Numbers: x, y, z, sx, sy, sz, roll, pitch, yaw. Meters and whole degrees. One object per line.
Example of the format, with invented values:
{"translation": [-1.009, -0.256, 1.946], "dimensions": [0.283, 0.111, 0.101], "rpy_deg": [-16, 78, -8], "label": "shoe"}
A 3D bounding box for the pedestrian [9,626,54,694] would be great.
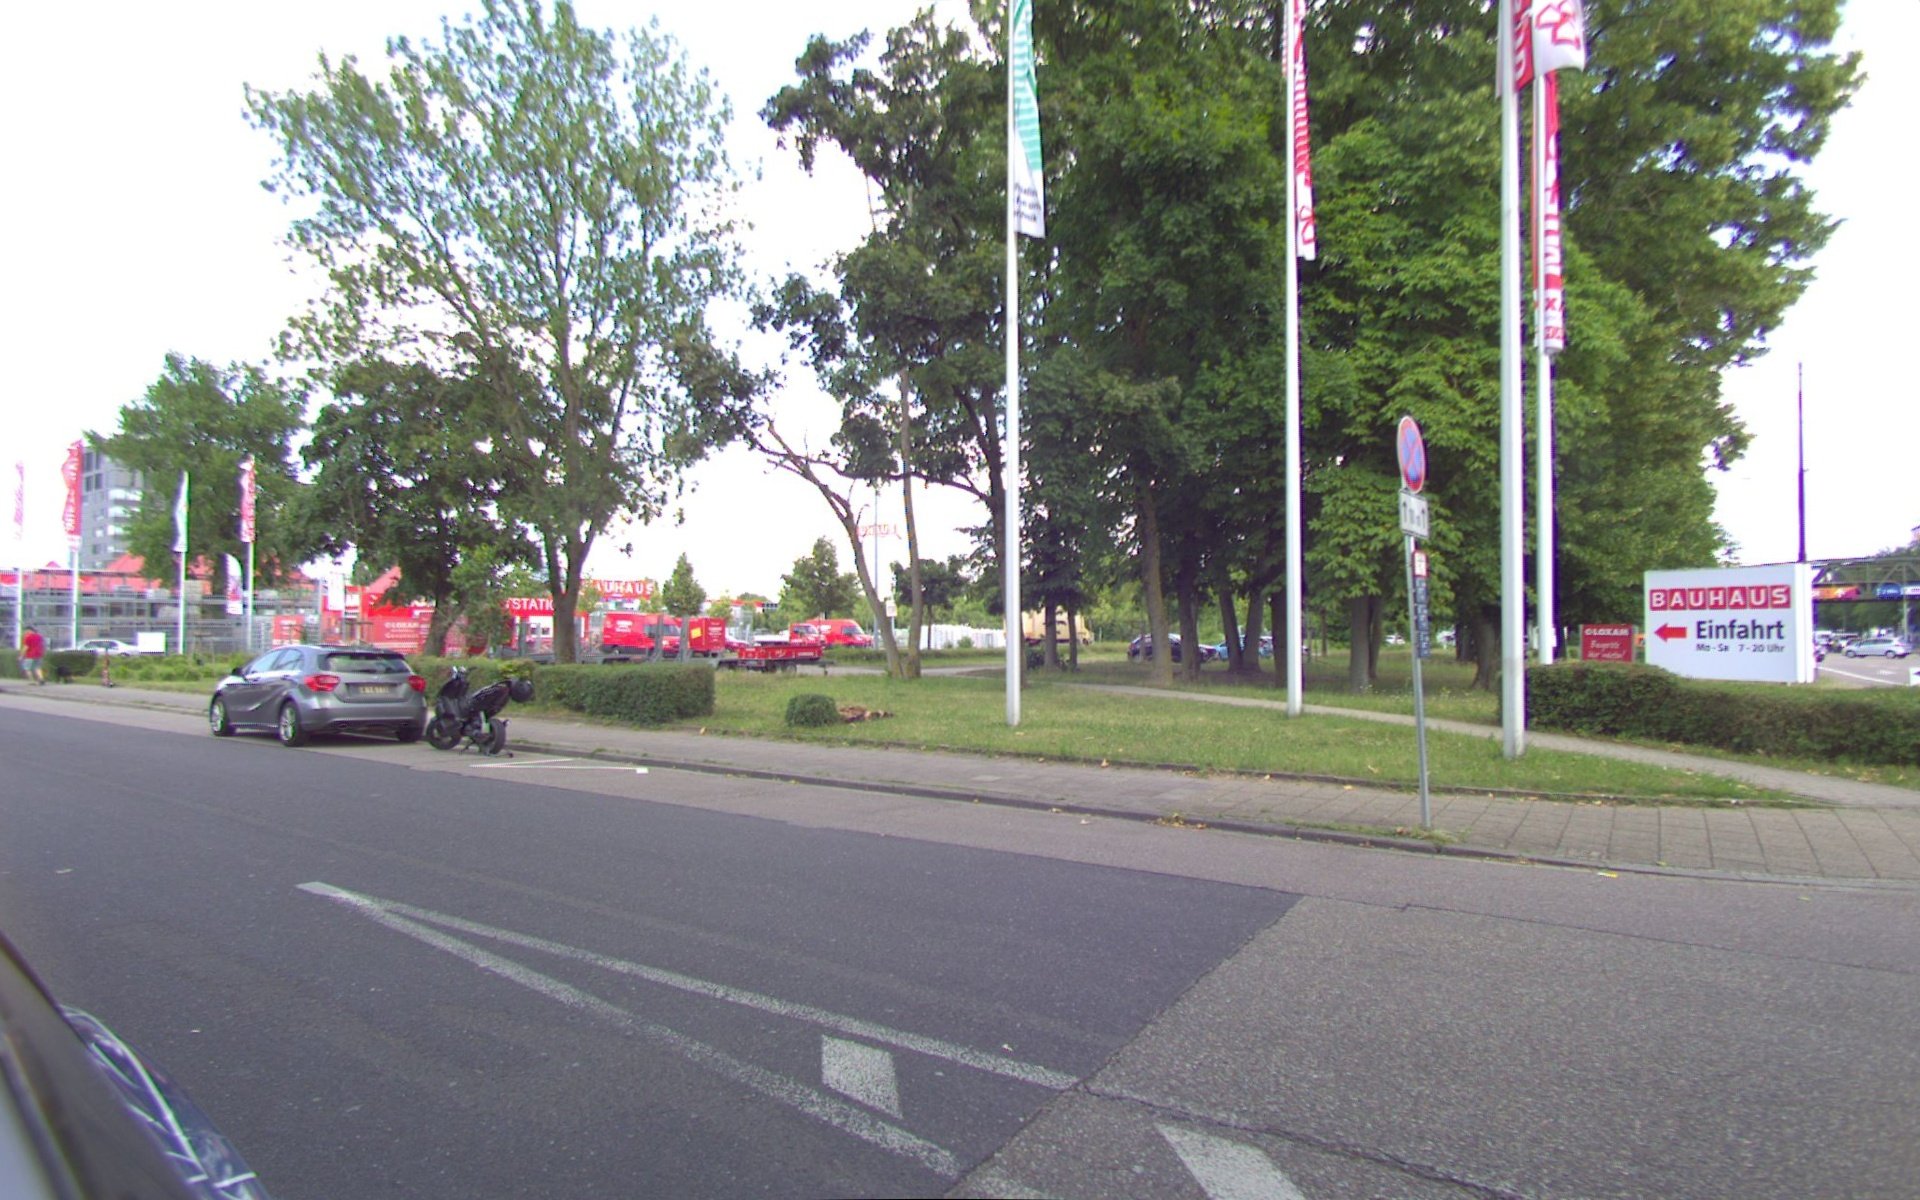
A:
{"translation": [-28.456, 1.819, 31.020], "dimensions": [0.883, 2.029, 0.802], "rpy_deg": [-1, -2, 34], "label": "pedestrian"}

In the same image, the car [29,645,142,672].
{"translation": [-50.672, 3.364, 58.707], "dimensions": [1.950, 1.465, 4.642], "rpy_deg": [-2, -3, 36], "label": "car"}

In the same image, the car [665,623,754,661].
{"translation": [-17.310, 2.835, 69.800], "dimensions": [6.423, 2.434, 2.247], "rpy_deg": [0, -1, 35], "label": "car"}

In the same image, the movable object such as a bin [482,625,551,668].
{"translation": [-24.718, 2.573, 56.430], "dimensions": [3.537, 2.292, 1.976], "rpy_deg": [-2, -3, 35], "label": "movable object such as a bin"}

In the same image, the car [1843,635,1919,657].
{"translation": [68.569, 3.398, 75.240], "dimensions": [1.842, 1.515, 3.922], "rpy_deg": [1, -2, -22], "label": "car"}

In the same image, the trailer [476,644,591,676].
{"translation": [-17.699, 2.464, 42.186], "dimensions": [1.667, 1.129, 4.200], "rpy_deg": [0, -1, 33], "label": "trailer"}

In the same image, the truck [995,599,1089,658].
{"translation": [6.021, 2.057, 72.644], "dimensions": [2.981, 3.979, 8.251], "rpy_deg": [0, -1, 35], "label": "truck"}

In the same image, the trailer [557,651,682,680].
{"translation": [-12.991, 2.471, 38.819], "dimensions": [2.017, 0.920, 4.200], "rpy_deg": [0, -1, 33], "label": "trailer"}

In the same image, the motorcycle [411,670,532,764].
{"translation": [-6.547, 1.536, 13.537], "dimensions": [1.799, 1.147, 0.615], "rpy_deg": [-2, -6, 36], "label": "motorcycle"}

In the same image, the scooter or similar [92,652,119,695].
{"translation": [-25.147, 2.158, 29.787], "dimensions": [0.511, 1.202, 1.281], "rpy_deg": [1, -2, -44], "label": "scooter or similar"}

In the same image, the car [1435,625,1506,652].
{"translation": [48.042, 3.604, 95.425], "dimensions": [2.325, 2.461, 5.928], "rpy_deg": [1, -2, -21], "label": "car"}

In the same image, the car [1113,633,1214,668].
{"translation": [9.412, 2.311, 46.883], "dimensions": [4.346, 1.523, 1.555], "rpy_deg": [-1, -3, 35], "label": "car"}

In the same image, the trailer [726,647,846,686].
{"translation": [-5.833, 2.211, 34.239], "dimensions": [1.714, 1.200, 3.777], "rpy_deg": [-3, -3, 40], "label": "trailer"}

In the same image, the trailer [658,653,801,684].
{"translation": [-8.038, 2.382, 35.663], "dimensions": [2.185, 0.920, 4.548], "rpy_deg": [-3, -3, 40], "label": "trailer"}

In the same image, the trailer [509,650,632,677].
{"translation": [-15.664, 2.536, 40.890], "dimensions": [2.153, 0.920, 4.200], "rpy_deg": [0, -1, 33], "label": "trailer"}

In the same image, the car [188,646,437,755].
{"translation": [-9.891, 1.451, 15.356], "dimensions": [4.323, 1.431, 1.694], "rpy_deg": [-2, -6, 37], "label": "car"}

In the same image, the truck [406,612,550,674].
{"translation": [-21.797, 1.908, 46.067], "dimensions": [1.812, 2.613, 5.702], "rpy_deg": [0, -1, 37], "label": "truck"}

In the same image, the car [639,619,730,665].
{"translation": [-16.753, 2.493, 61.455], "dimensions": [5.711, 2.613, 2.246], "rpy_deg": [0, -1, 36], "label": "car"}

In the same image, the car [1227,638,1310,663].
{"translation": [18.525, 2.997, 60.818], "dimensions": [4.401, 1.423, 1.976], "rpy_deg": [-1, -2, 35], "label": "car"}

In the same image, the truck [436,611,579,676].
{"translation": [-19.483, 1.832, 43.818], "dimensions": [1.775, 2.613, 5.499], "rpy_deg": [0, -1, 35], "label": "truck"}

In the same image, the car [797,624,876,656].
{"translation": [-9.912, 3.167, 81.112], "dimensions": [6.423, 2.434, 2.247], "rpy_deg": [0, -1, 35], "label": "car"}

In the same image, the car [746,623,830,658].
{"translation": [-12.922, 3.010, 75.784], "dimensions": [6.423, 2.434, 2.247], "rpy_deg": [0, -1, 35], "label": "car"}

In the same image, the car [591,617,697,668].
{"translation": [-17.709, 2.337, 56.614], "dimensions": [6.425, 2.613, 2.246], "rpy_deg": [0, -1, 36], "label": "car"}

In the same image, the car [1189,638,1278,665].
{"translation": [15.155, 2.815, 56.208], "dimensions": [4.401, 1.423, 1.976], "rpy_deg": [-1, -2, 35], "label": "car"}
